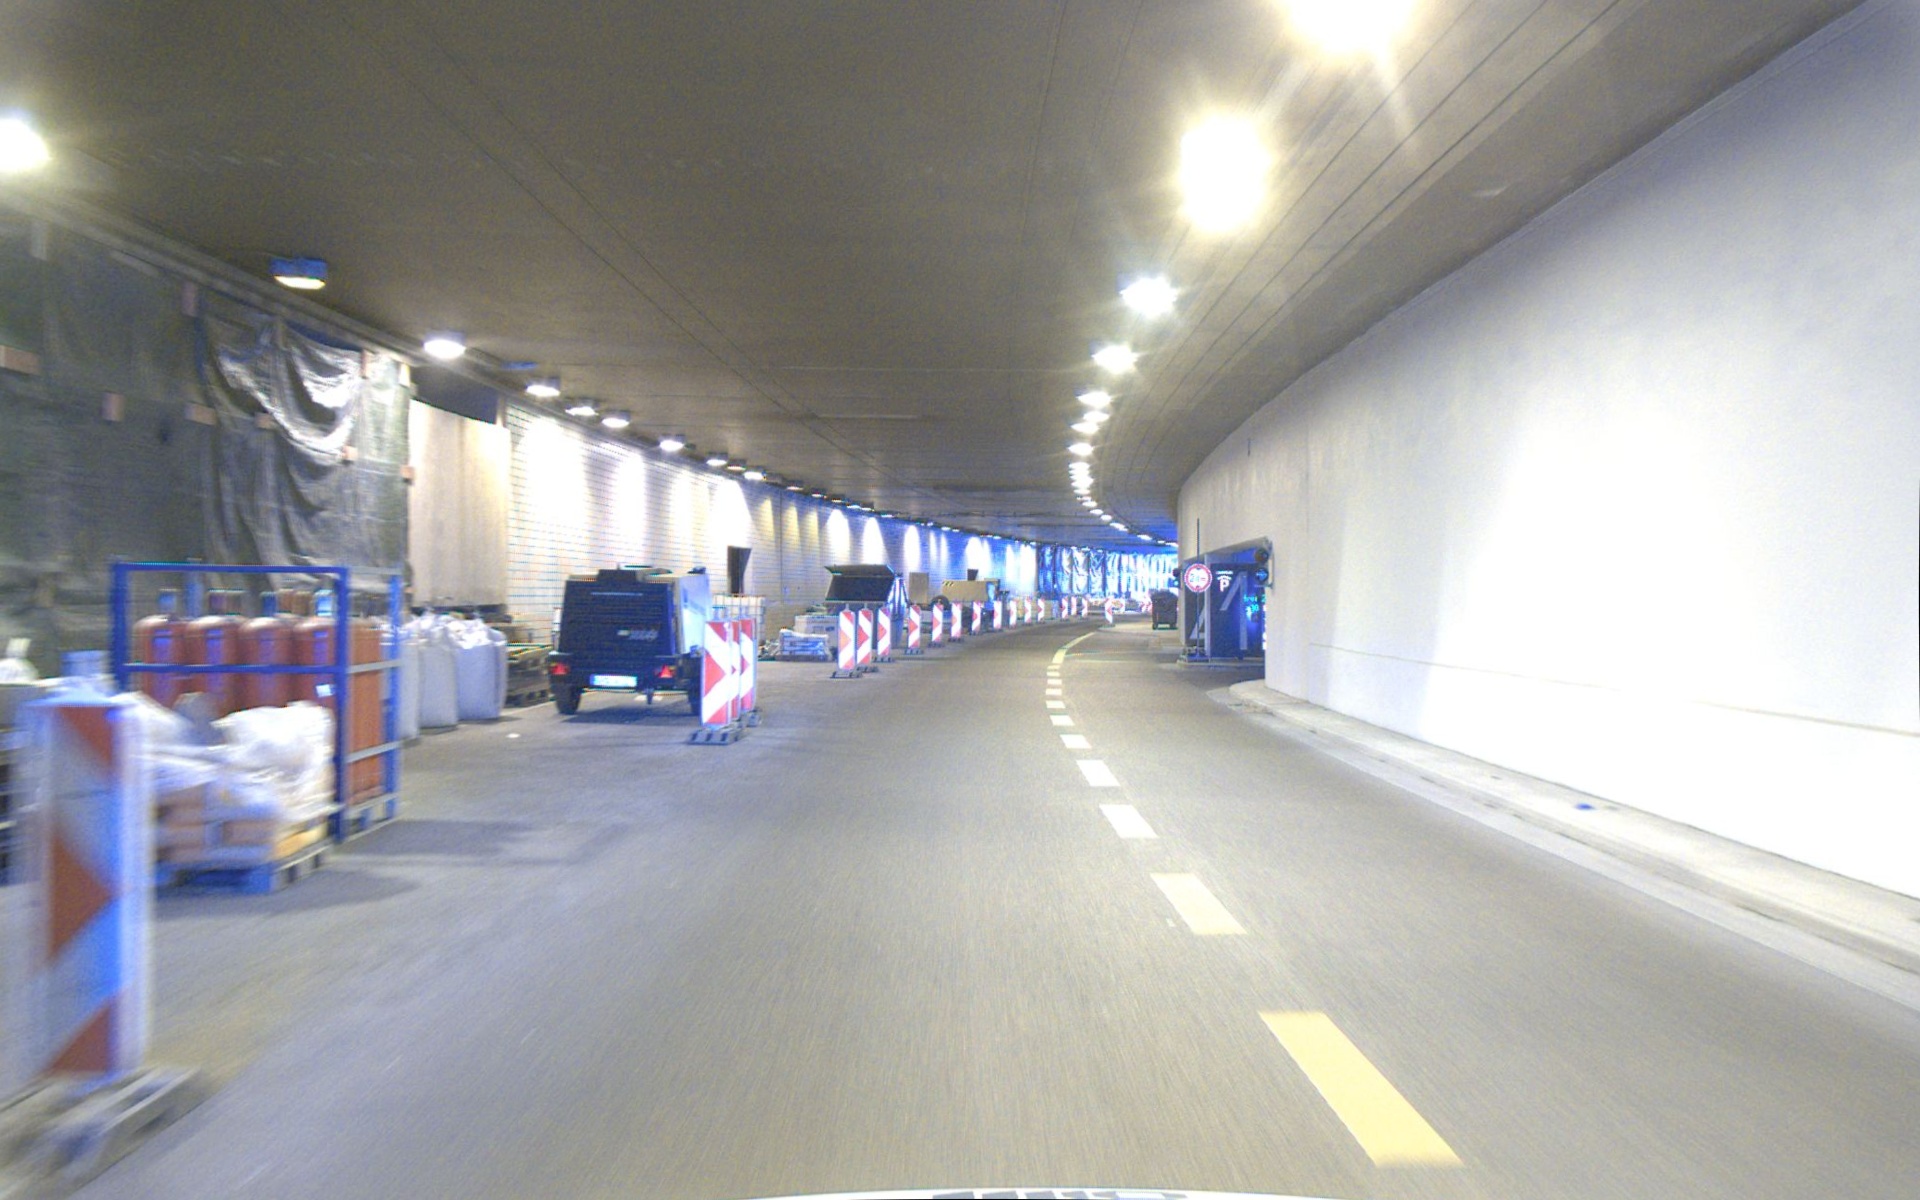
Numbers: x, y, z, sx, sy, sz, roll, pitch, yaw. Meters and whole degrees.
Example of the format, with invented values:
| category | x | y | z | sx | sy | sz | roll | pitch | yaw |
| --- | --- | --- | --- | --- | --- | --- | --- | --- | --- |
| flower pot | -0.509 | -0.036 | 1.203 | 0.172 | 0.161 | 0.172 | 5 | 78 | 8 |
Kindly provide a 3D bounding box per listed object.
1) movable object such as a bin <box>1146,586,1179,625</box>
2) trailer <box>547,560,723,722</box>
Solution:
| category | x | y | z | sx | sy | sz | roll | pitch | yaw |
| --- | --- | --- | --- | --- | --- | --- | --- | --- | --- |
| movable object such as a bin | 7.954 | 0.220 | 64.939 | 1.169 | 1.486 | 1.606 | -2 | 0 | 8 |
| trailer | -3.917 | 0.473 | 20.309 | 1.548 | 1.829 | 2.939 | 1 | 0 | 0 |
